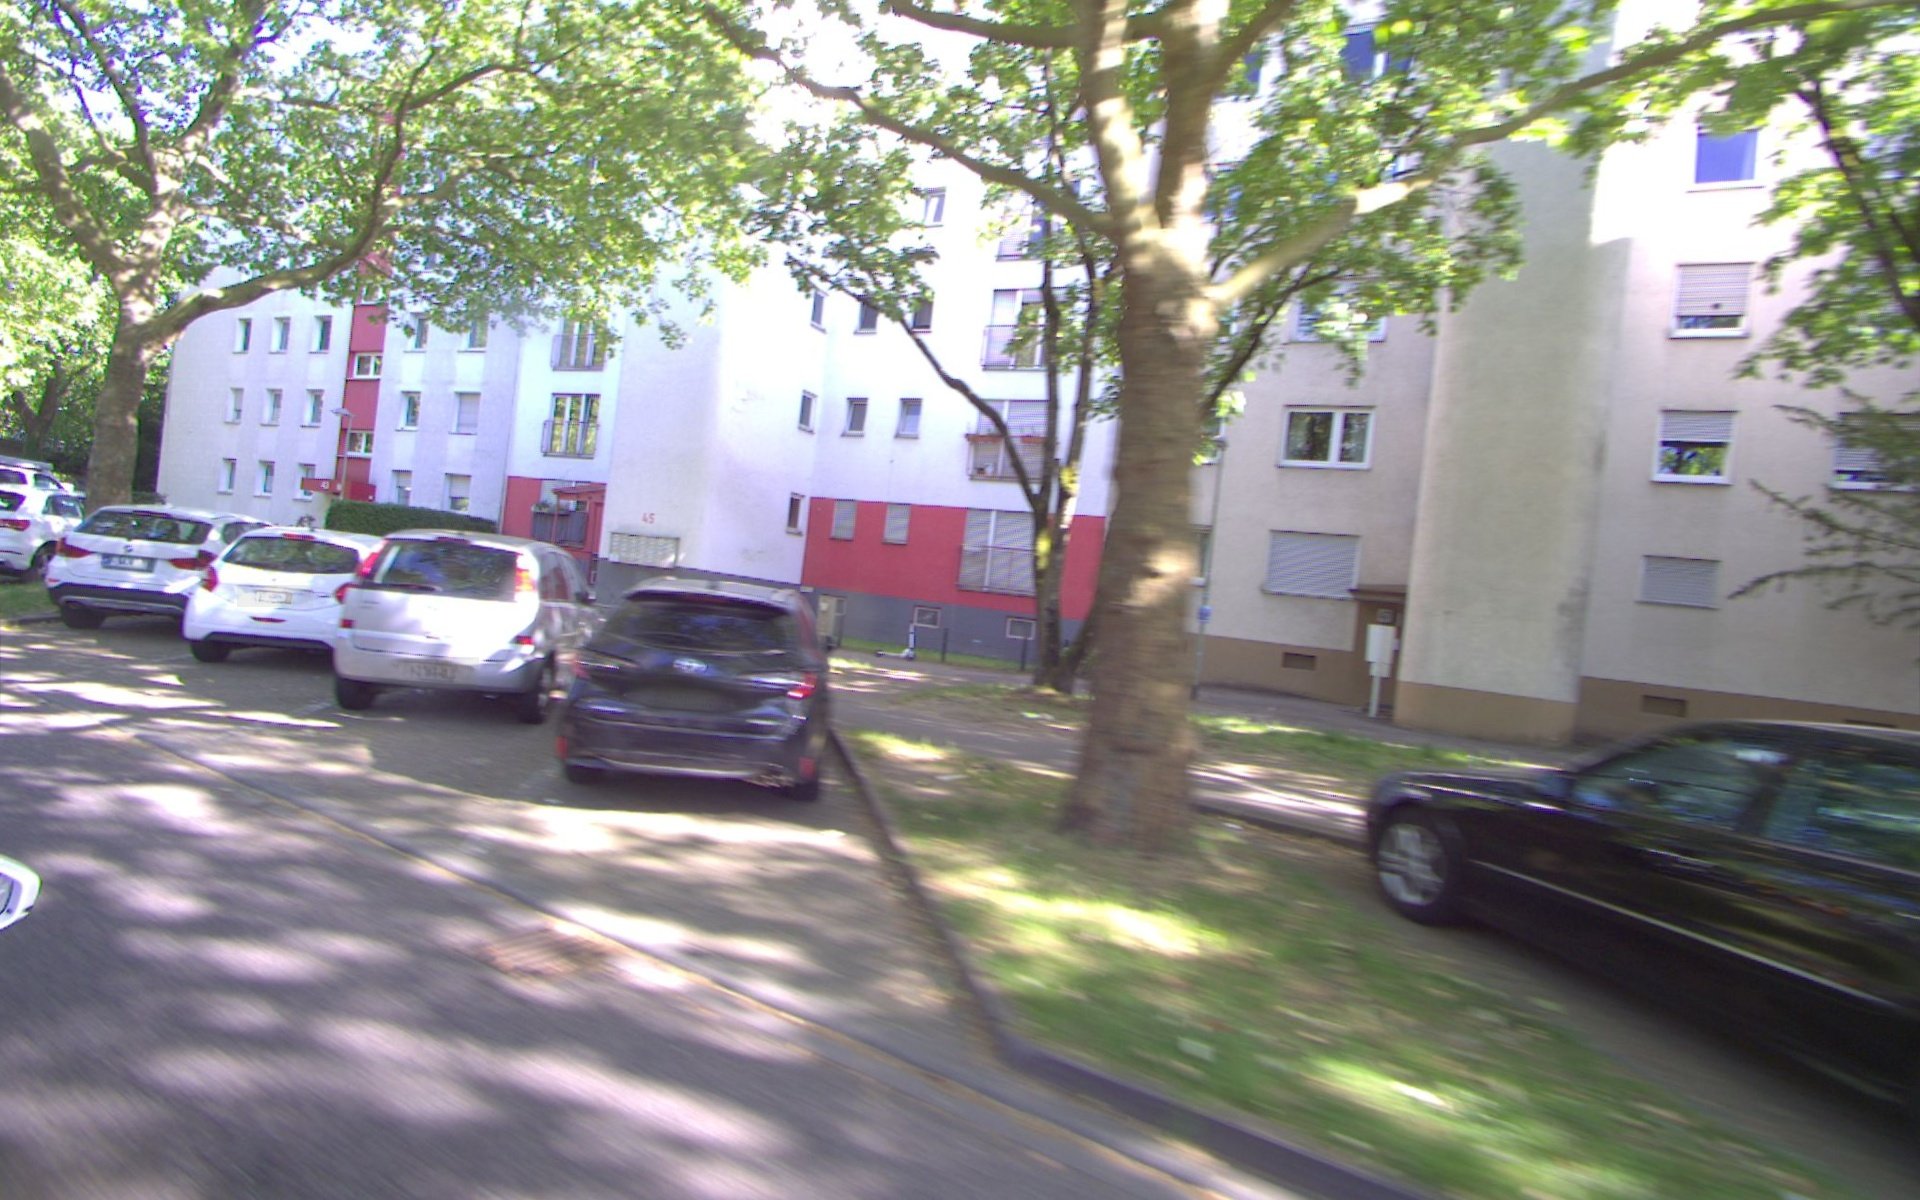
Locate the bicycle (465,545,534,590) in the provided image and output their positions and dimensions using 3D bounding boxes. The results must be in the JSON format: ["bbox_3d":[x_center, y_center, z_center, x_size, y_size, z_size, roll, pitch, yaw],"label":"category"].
[{"bbox_3d":[-12.867,-0.893,28.148,0.491,1.145,1.796,7,2,27],"label":"bicycle"}]

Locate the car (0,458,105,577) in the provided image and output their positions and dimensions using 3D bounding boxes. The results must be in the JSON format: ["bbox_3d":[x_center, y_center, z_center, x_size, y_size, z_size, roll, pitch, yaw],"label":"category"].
[{"bbox_3d":[-17.777,-1.543,17.637,1.982,2.079,4.581,5,1,-8],"label":"car"}]

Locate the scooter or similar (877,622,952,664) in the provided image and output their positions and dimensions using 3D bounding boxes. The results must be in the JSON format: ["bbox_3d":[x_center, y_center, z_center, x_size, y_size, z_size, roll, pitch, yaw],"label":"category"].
[{"bbox_3d":[-0.909,0.863,20.325,1.354,0.703,0.702,6,1,7],"label":"scooter or similar"}]

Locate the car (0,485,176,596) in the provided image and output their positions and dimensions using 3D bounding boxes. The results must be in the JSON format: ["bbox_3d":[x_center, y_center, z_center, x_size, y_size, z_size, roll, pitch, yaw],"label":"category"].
[{"bbox_3d":[-15.087,-1.016,16.471,1.802,1.601,4.048,5,1,-11],"label":"car"}]

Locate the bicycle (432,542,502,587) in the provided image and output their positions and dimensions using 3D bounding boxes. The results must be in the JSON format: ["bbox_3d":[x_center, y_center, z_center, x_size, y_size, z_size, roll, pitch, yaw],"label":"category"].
[{"bbox_3d":[-13.949,-0.996,28.511,0.491,1.145,1.796,7,2,27],"label":"bicycle"}]

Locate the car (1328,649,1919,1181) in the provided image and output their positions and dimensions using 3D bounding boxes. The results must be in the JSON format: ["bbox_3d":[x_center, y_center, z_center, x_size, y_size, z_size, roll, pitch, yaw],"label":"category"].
[{"bbox_3d":[3.757,1.189,4.293,1.771,1.441,4.577,6,1,-13],"label":"car"}]

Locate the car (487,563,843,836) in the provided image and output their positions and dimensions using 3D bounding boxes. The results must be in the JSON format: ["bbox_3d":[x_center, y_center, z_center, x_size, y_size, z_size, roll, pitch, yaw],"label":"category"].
[{"bbox_3d":[-1.980,0.546,8.080,1.917,1.447,4.401,6,1,-7],"label":"car"}]

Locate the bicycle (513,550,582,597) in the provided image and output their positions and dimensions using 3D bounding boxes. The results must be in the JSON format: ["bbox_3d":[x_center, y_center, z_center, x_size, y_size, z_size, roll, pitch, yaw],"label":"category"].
[{"bbox_3d":[-11.142,-0.699,27.235,0.491,1.145,1.796,7,2,27],"label":"bicycle"}]

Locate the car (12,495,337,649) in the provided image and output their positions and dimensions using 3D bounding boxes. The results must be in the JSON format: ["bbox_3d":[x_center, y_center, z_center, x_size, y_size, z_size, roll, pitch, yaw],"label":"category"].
[{"bbox_3d":[-9.924,-0.374,13.165,1.772,1.530,4.197,5,1,-15],"label":"car"}]

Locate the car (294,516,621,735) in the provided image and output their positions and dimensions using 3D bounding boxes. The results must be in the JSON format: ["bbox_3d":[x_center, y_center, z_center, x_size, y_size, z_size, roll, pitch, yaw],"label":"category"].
[{"bbox_3d":[-4.676,0.161,10.052,1.769,1.610,3.990,5,1,-10],"label":"car"}]

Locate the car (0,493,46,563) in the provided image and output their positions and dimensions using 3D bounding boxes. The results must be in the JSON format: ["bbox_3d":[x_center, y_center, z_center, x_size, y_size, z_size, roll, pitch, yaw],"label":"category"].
[{"bbox_3d":[-20.642,-1.537,19.694,1.769,1.442,4.580,5,1,-9],"label":"car"}]

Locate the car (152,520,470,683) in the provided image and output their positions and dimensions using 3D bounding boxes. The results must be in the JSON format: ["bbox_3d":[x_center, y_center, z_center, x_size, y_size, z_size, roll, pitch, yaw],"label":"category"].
[{"bbox_3d":[-7.294,-0.042,11.827,1.802,1.438,3.988,5,1,-13],"label":"car"}]
